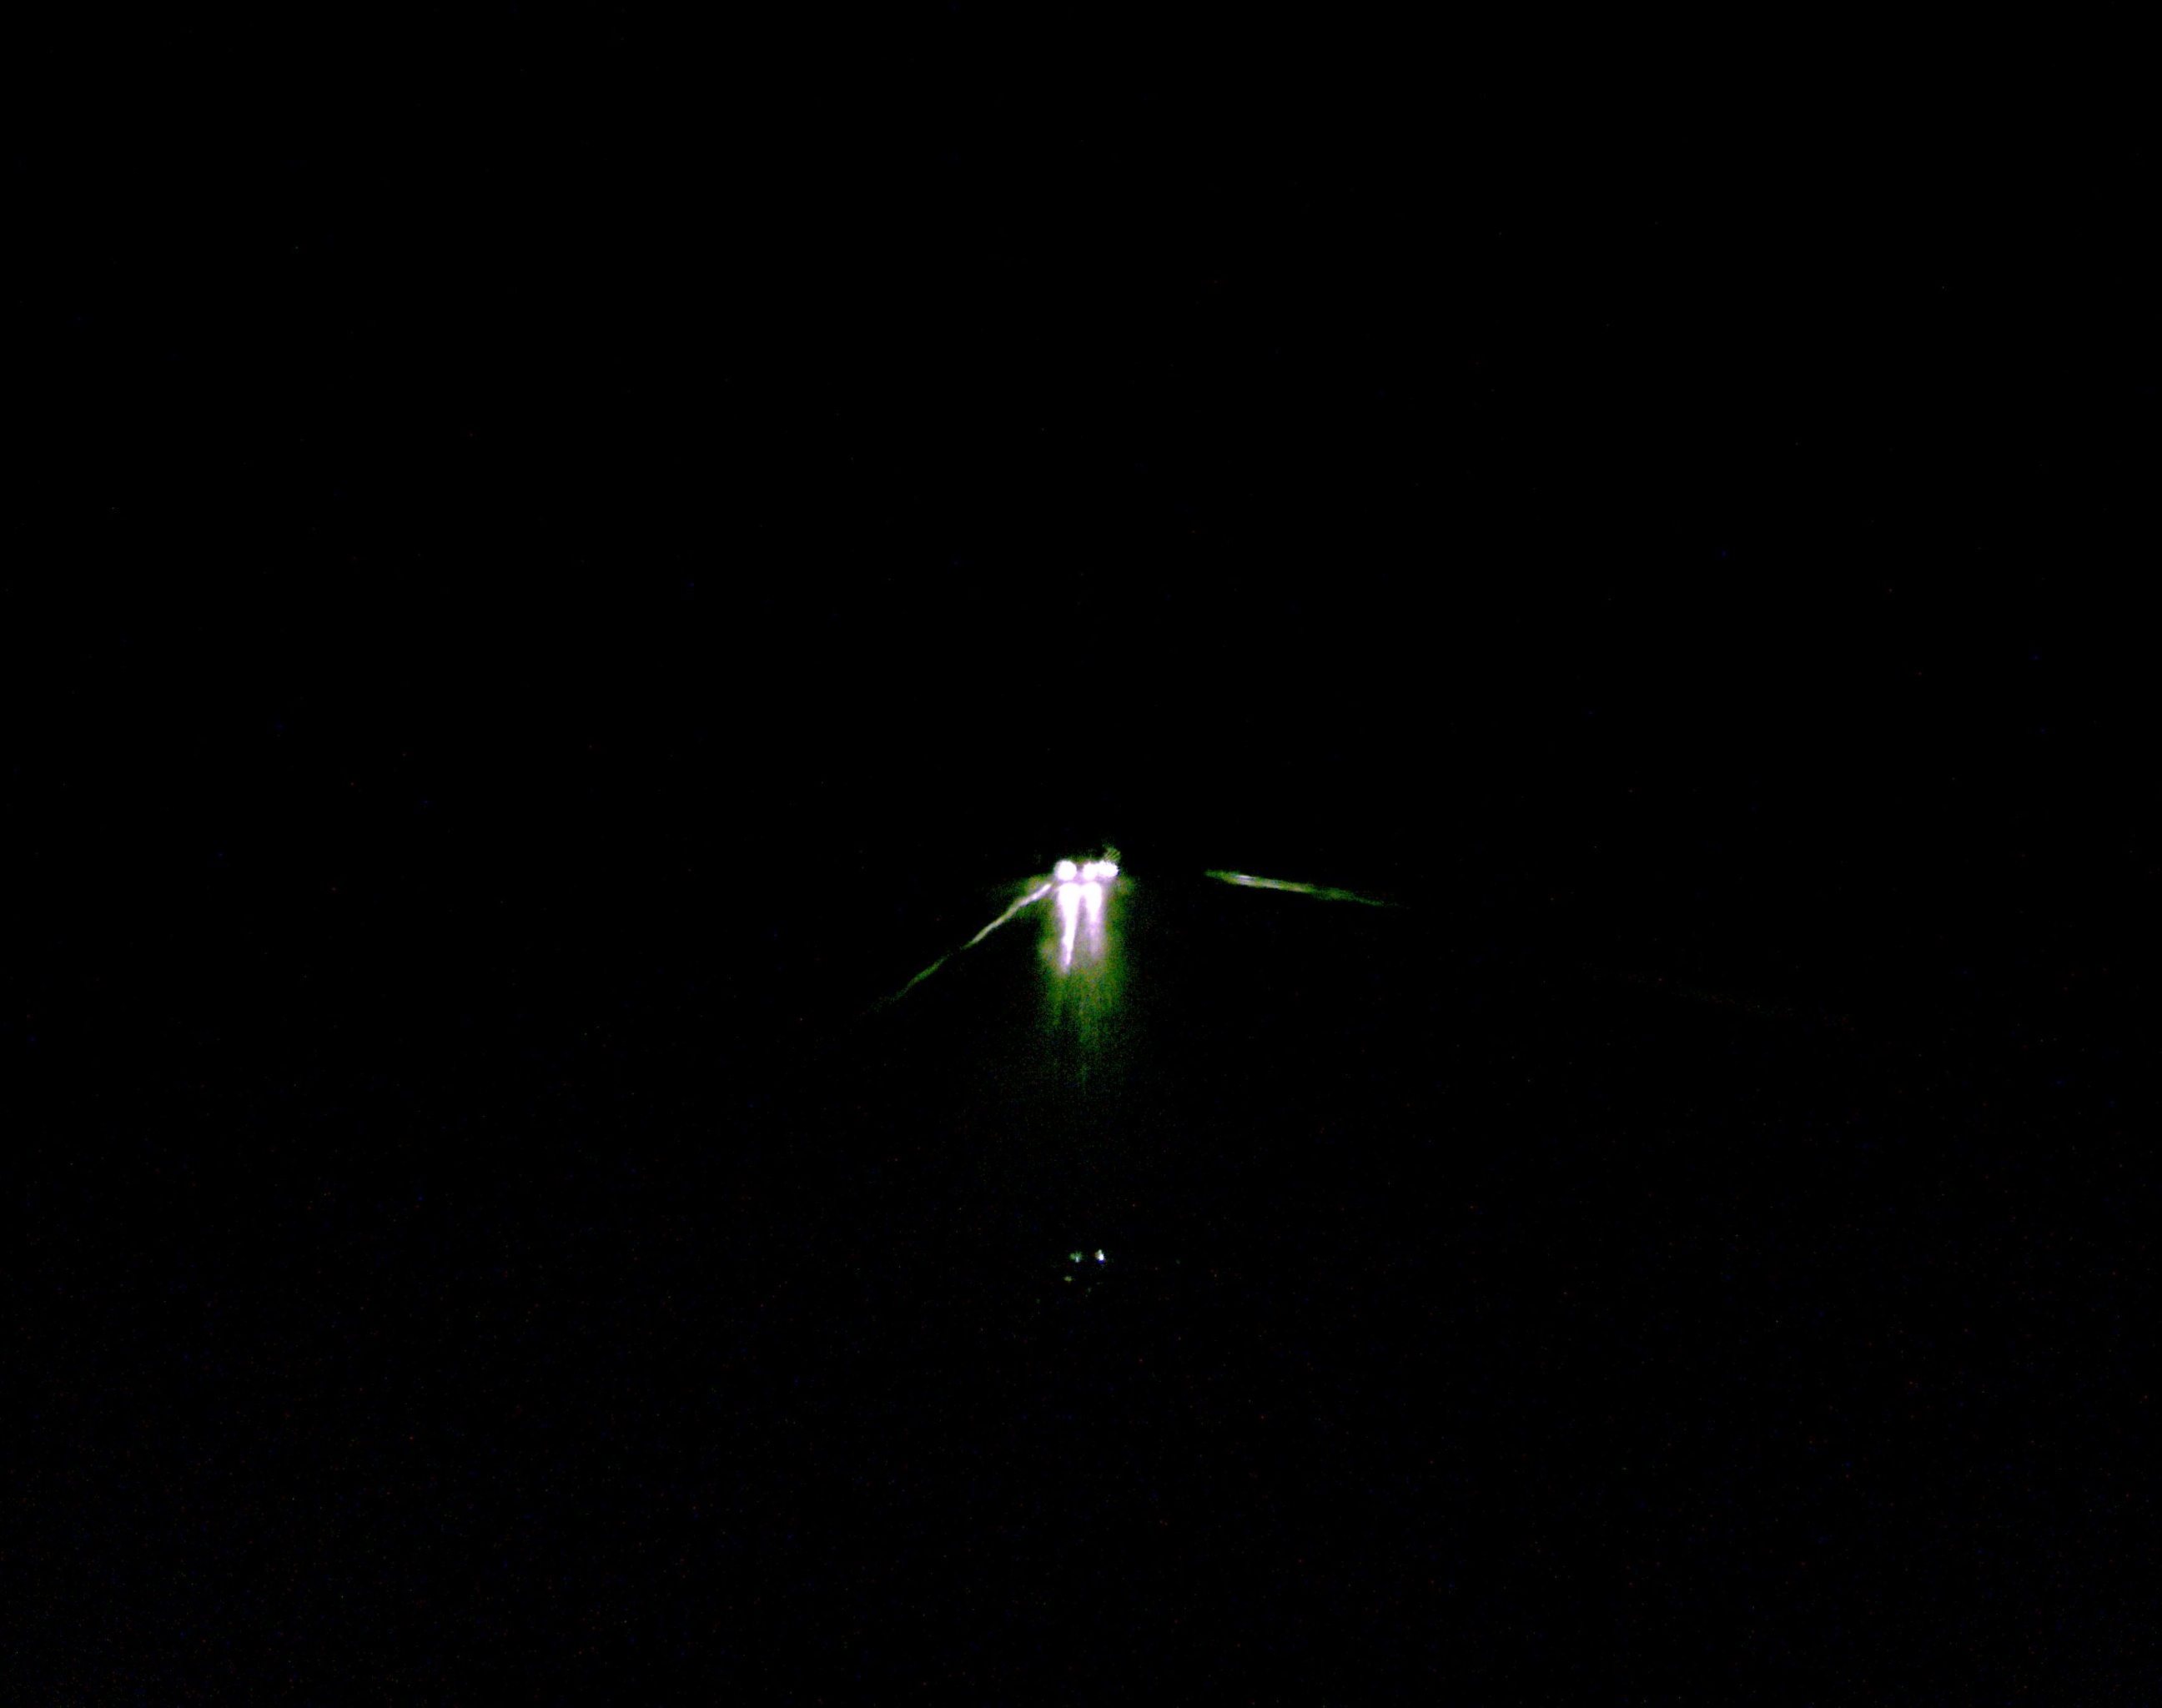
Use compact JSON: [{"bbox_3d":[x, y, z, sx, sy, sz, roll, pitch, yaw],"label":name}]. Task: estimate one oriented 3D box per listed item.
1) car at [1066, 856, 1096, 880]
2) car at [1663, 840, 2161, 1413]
[{"bbox_3d":[0.066,0.957,50.799,1.901,1.551,4.001,-1,-2,1],"label":"car"},{"bbox_3d":[3.770,0.733,1.980,1.638,1.571,3.745,-1,-2,1],"label":"car"}]
